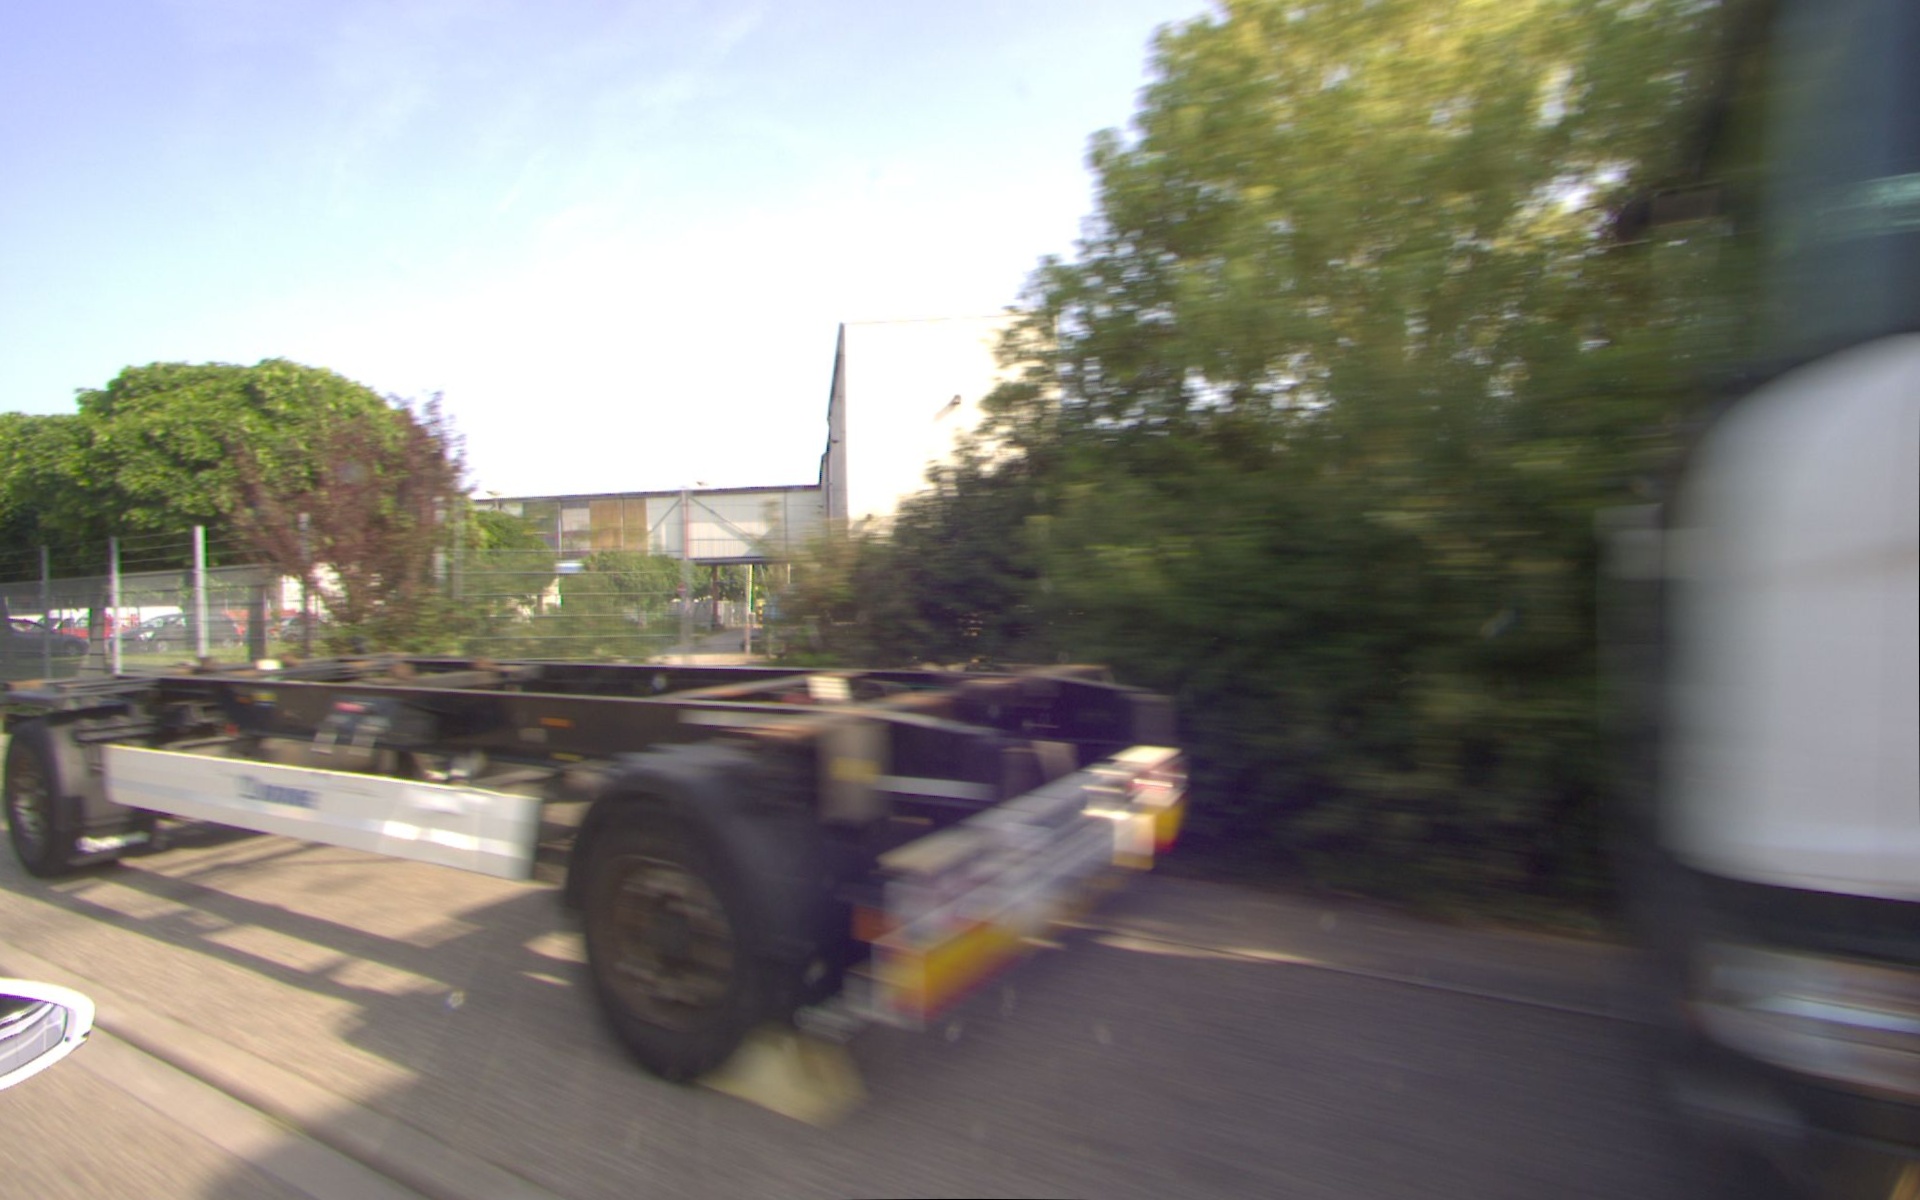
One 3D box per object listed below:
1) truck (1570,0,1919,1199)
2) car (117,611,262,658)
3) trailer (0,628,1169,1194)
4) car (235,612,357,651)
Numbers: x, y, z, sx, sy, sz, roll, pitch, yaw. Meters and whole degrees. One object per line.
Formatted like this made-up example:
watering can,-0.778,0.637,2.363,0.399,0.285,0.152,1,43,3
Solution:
truck,4.173,-0.696,1.017,5.957,4.019,2.686,-1,3,30
car,-29.309,1.265,38.283,1.842,1.647,4.267,1,0,10
trailer,-2.772,0.837,5.189,7.343,1.252,1.934,-1,2,32
car,-28.828,1.323,43.665,1.696,1.537,4.489,-3,-1,12
